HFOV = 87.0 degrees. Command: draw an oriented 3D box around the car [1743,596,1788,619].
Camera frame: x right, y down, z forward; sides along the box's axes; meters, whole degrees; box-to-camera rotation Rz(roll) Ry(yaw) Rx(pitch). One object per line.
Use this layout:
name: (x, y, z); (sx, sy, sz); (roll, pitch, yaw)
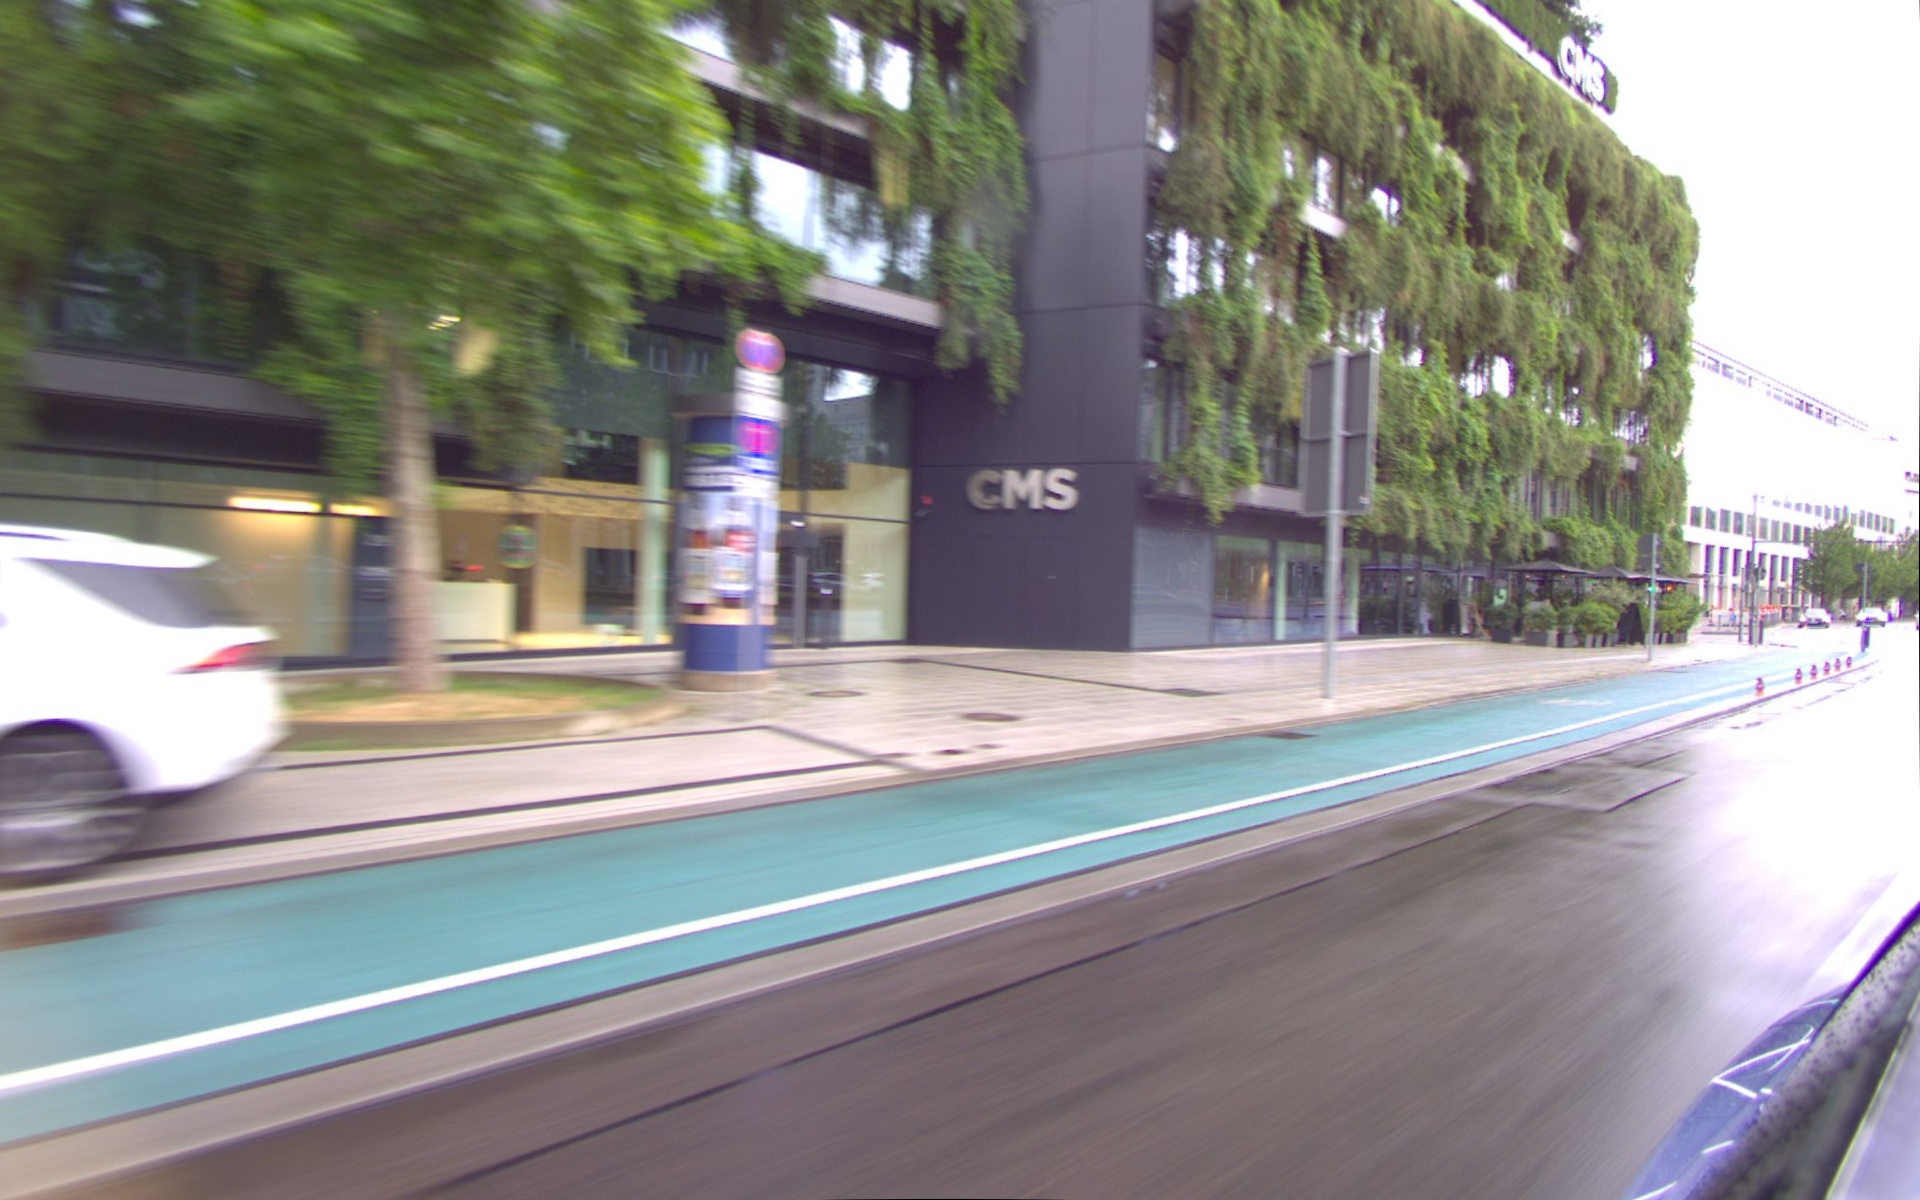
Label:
car: (59.404, 0.539, 74.617); (4.588, 1.572, 1.738); (0, 1, -41)

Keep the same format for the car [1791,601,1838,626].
car: (58.133, 0.881, 68.816); (4.588, 1.572, 1.738); (0, 1, -41)

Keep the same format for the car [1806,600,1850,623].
car: (63.439, 0.838, 73.952); (4.588, 1.571, 1.738); (0, 2, -41)

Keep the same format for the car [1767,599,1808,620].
car: (65.273, 0.721, 79.825); (4.588, 1.572, 1.738); (0, 1, -41)

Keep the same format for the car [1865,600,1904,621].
car: (74.123, 0.826, 81.102); (4.588, 1.572, 1.738); (0, 1, -41)

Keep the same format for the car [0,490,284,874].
car: (-6.270, 0.354, 4.751); (5.001, 1.861, 1.848); (1, 2, -39)
